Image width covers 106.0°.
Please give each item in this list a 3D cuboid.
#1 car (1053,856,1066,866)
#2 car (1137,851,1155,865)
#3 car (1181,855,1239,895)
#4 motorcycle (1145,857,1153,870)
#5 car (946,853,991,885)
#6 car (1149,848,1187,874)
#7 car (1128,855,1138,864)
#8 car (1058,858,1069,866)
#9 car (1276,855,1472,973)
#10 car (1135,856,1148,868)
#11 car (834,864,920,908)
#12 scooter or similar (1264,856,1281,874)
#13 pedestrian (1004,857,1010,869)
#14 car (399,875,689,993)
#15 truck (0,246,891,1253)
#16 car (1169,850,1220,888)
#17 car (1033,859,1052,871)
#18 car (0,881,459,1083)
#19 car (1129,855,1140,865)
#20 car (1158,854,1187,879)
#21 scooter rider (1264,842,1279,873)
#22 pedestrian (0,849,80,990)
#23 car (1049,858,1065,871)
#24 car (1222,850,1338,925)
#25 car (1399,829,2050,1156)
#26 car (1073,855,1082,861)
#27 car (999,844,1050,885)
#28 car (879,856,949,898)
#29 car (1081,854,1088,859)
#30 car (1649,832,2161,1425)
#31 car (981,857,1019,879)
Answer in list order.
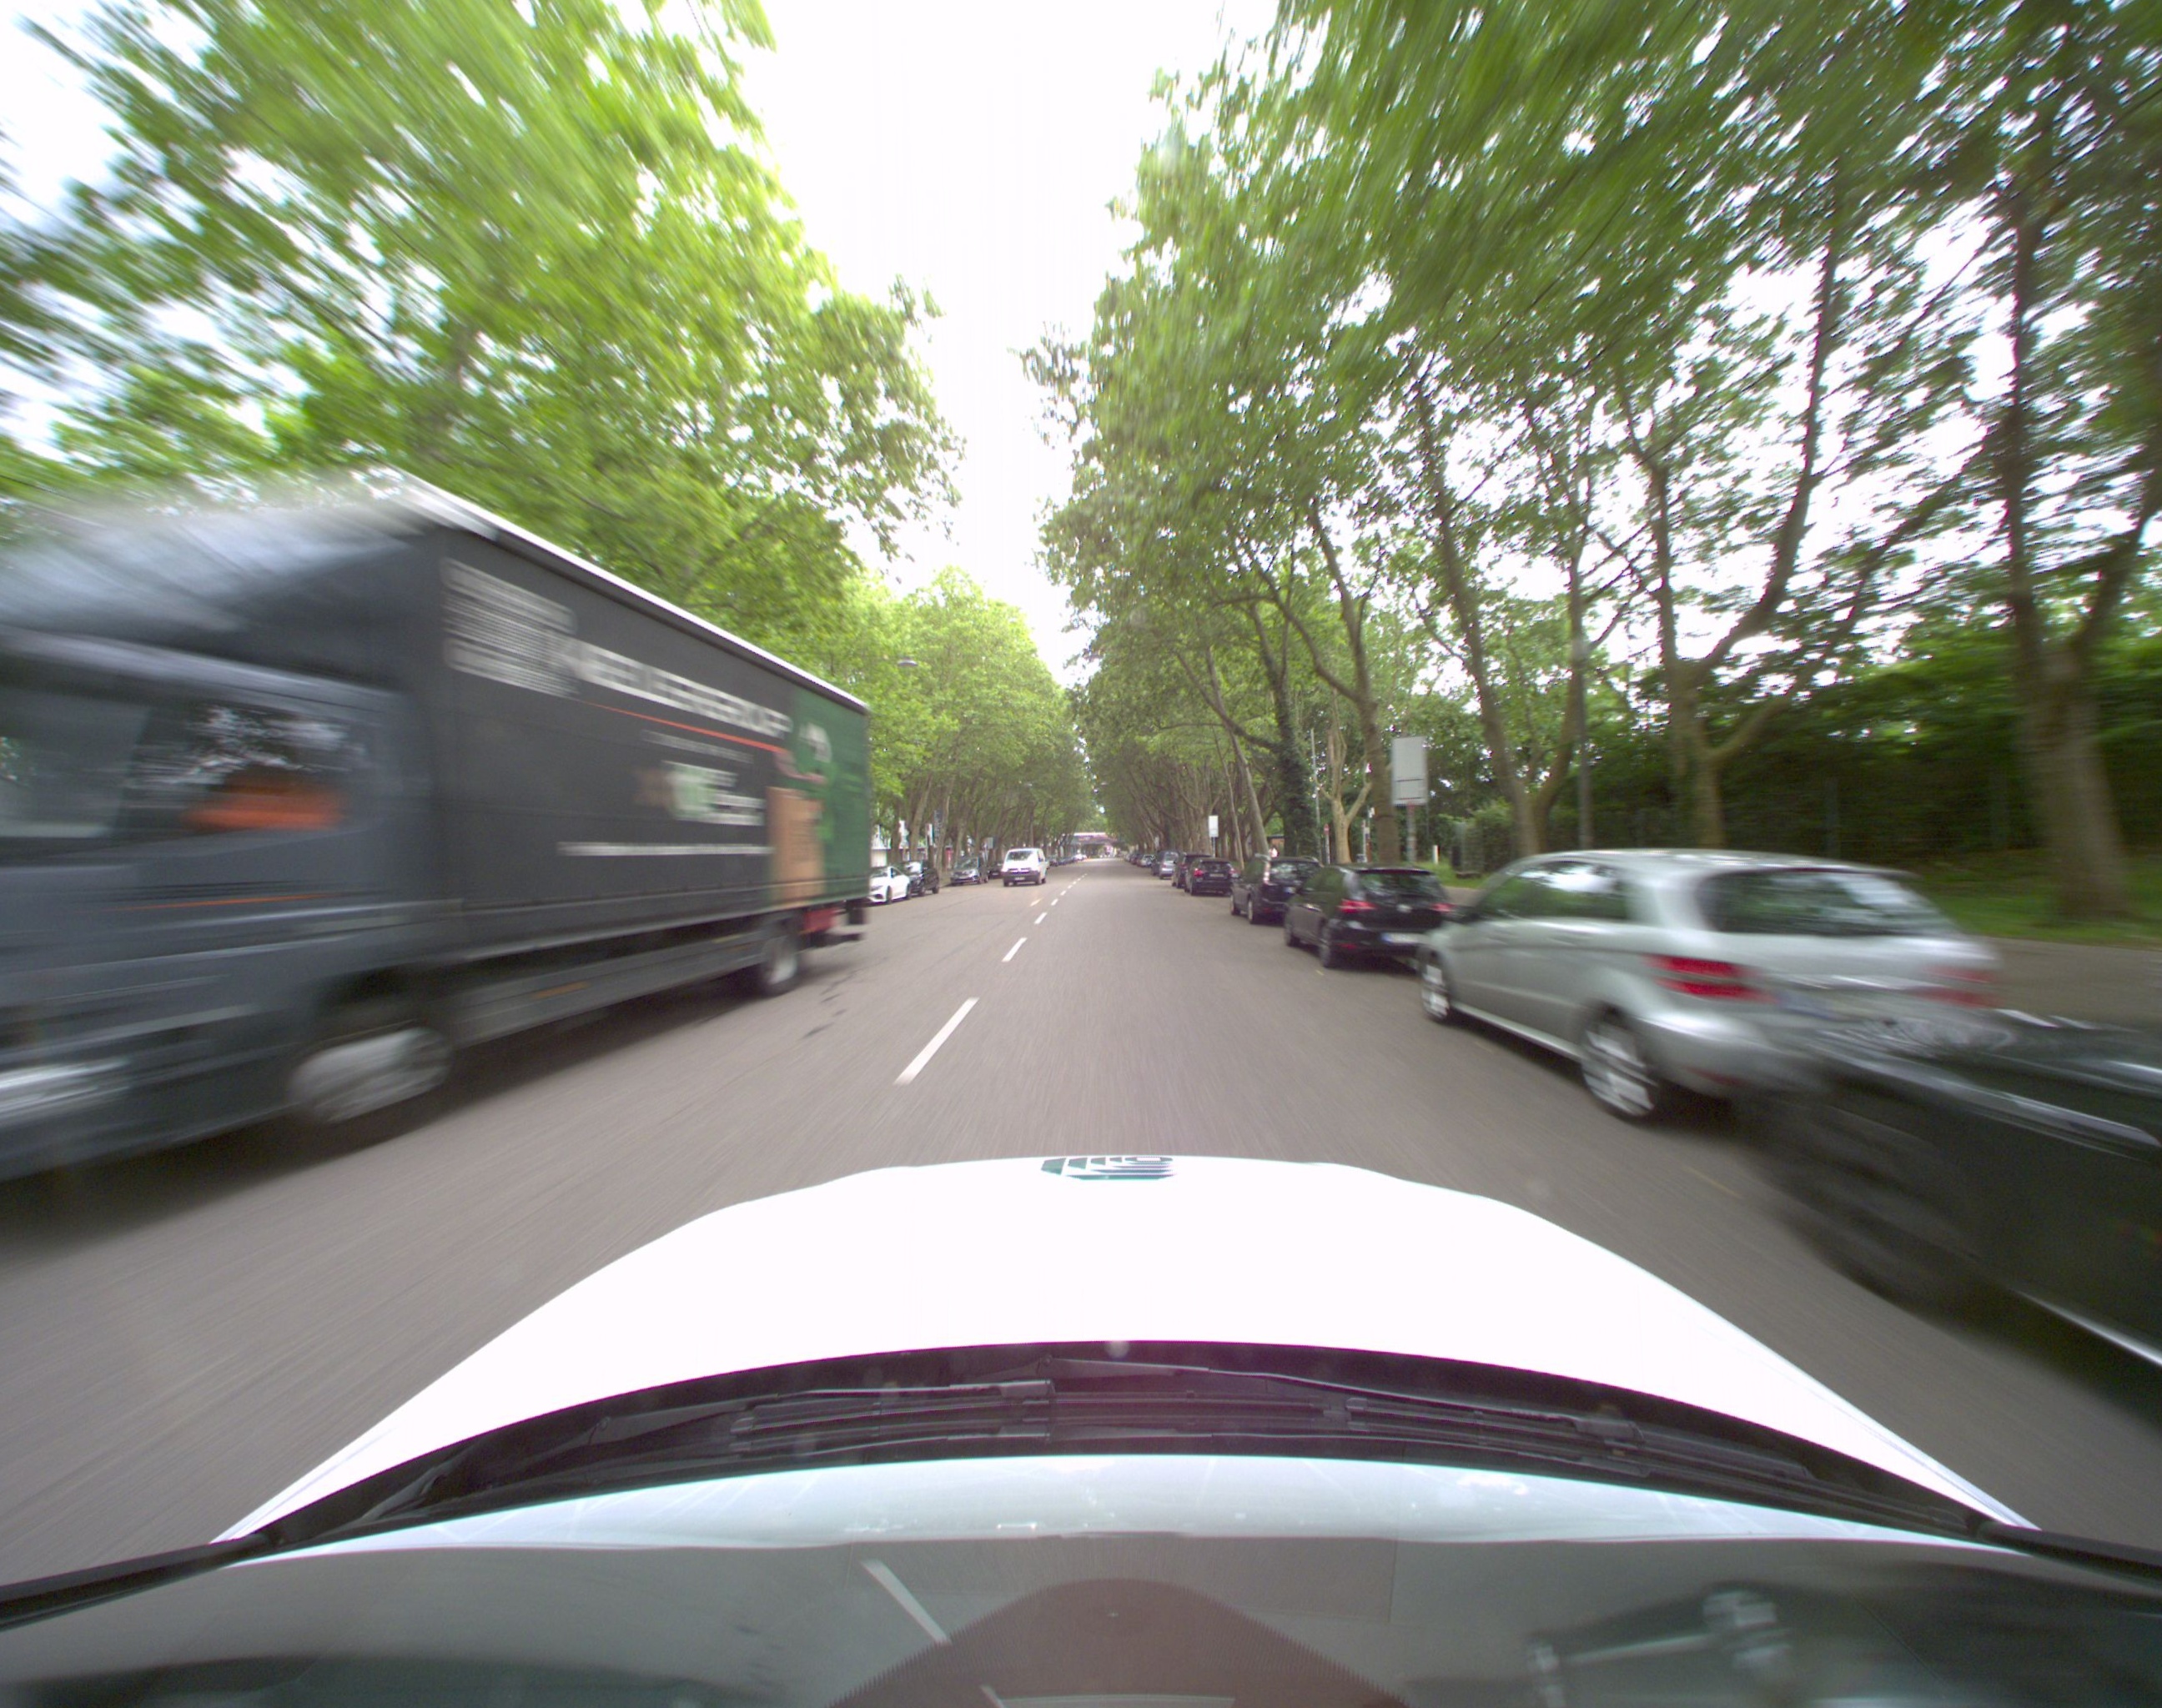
[{"bbox_3d":[-3.596,1.181,135.751,1.718,1.486,4.577,-2,0,2],"label":"car"},{"bbox_3d":[7.426,0.462,92.714,1.729,1.438,4.123,-2,0,1],"label":"car"},{"bbox_3d":[4.950,0.753,31.691,1.769,1.418,4.290,1,0,2],"label":"car"},{"bbox_3d":[7.308,1.012,87.498,0.708,1.331,1.998,-1,0,10],"label":"motorcycle"},{"bbox_3d":[-6.963,0.923,50.783,1.888,1.795,4.614,-4,-1,2],"label":"car"},{"bbox_3d":[6.208,0.480,58.670,1.840,1.783,4.437,1,0,-6],"label":"car"},{"bbox_3d":[10.869,1.177,171.046,1.895,1.739,4.509,-1,-1,2],"label":"car"},{"bbox_3d":[-3.312,1.488,153.839,1.870,1.527,4.153,-2,0,3],"label":"car"},{"bbox_3d":[4.228,0.760,12.461,1.731,1.471,4.155,1,0,3],"label":"car"},{"bbox_3d":[8.532,1.109,114.559,1.748,1.620,4.441,0,0,2],"label":"car"},{"bbox_3d":[-7.614,1.135,30.936,1.809,1.362,5.007,-3,0,1],"label":"car"},{"bbox_3d":[11.631,0.657,49.581,0.677,1.038,1.468,-4,0,2],"label":"scooter or similar"},{"bbox_3d":[-10.798,1.341,119.387,0.570,1.742,0.771,-2,-1,17],"label":"pedestrian"},{"bbox_3d":[-8.502,1.164,13.464,1.701,1.382,4.333,-5,0,2],"label":"car"},{"bbox_3d":[-4.894,-0.306,7.945,2.896,3.868,9.480,-3,-1,5],"label":"truck"},{"bbox_3d":[5.152,0.643,37.600,1.822,1.602,4.468,1,0,1],"label":"car"},{"bbox_3d":[-4.923,1.378,104.448,1.896,1.403,4.754,-5,-1,2],"label":"car"},{"bbox_3d":[-8.809,1.147,8.598,1.691,1.478,3.646,-5,0,-3],"label":"car"},{"bbox_3d":[9.473,0.999,144.319,1.701,1.698,4.631,0,0,1],"label":"car"},{"bbox_3d":[5.694,0.738,51.073,1.612,1.461,3.950,1,0,4],"label":"car"},{"bbox_3d":[11.604,0.202,49.518,0.674,1.800,0.588,-3,-1,2],"label":"scooter rider"},{"bbox_3d":[-14.363,0.867,11.057,0.505,1.840,0.826,-1,0,-4],"label":"pedestrian"},{"bbox_3d":[-3.488,1.475,117.654,1.942,1.750,4.640,-3,-1,2],"label":"car"},{"bbox_3d":[4.558,0.694,19.323,1.770,1.553,4.397,1,0,1],"label":"car"},{"bbox_3d":[4.057,0.691,6.216,1.772,1.617,4.227,1,0,2],"label":"car"},{"bbox_3d":[-0.882,1.109,211.999,2.065,1.563,4.759,-1,0,3],"label":"car"},{"bbox_3d":[-2.947,0.523,43.685,2.051,1.961,5.469,-2,0,2],"label":"car"},{"bbox_3d":[-7.269,0.951,35.888,1.809,1.594,4.349,-5,-1,4],"label":"car"},{"bbox_3d":[1.051,0.870,260.581,1.989,1.601,3.996,-1,0,-3],"label":"car"},{"bbox_3d":[3.540,0.696,1.487,1.723,1.477,4.986,1,0,3],"label":"car"},{"bbox_3d":[-6.352,1.090,64.122,2.075,1.530,5.150,-3,0,4],"label":"car"}]
